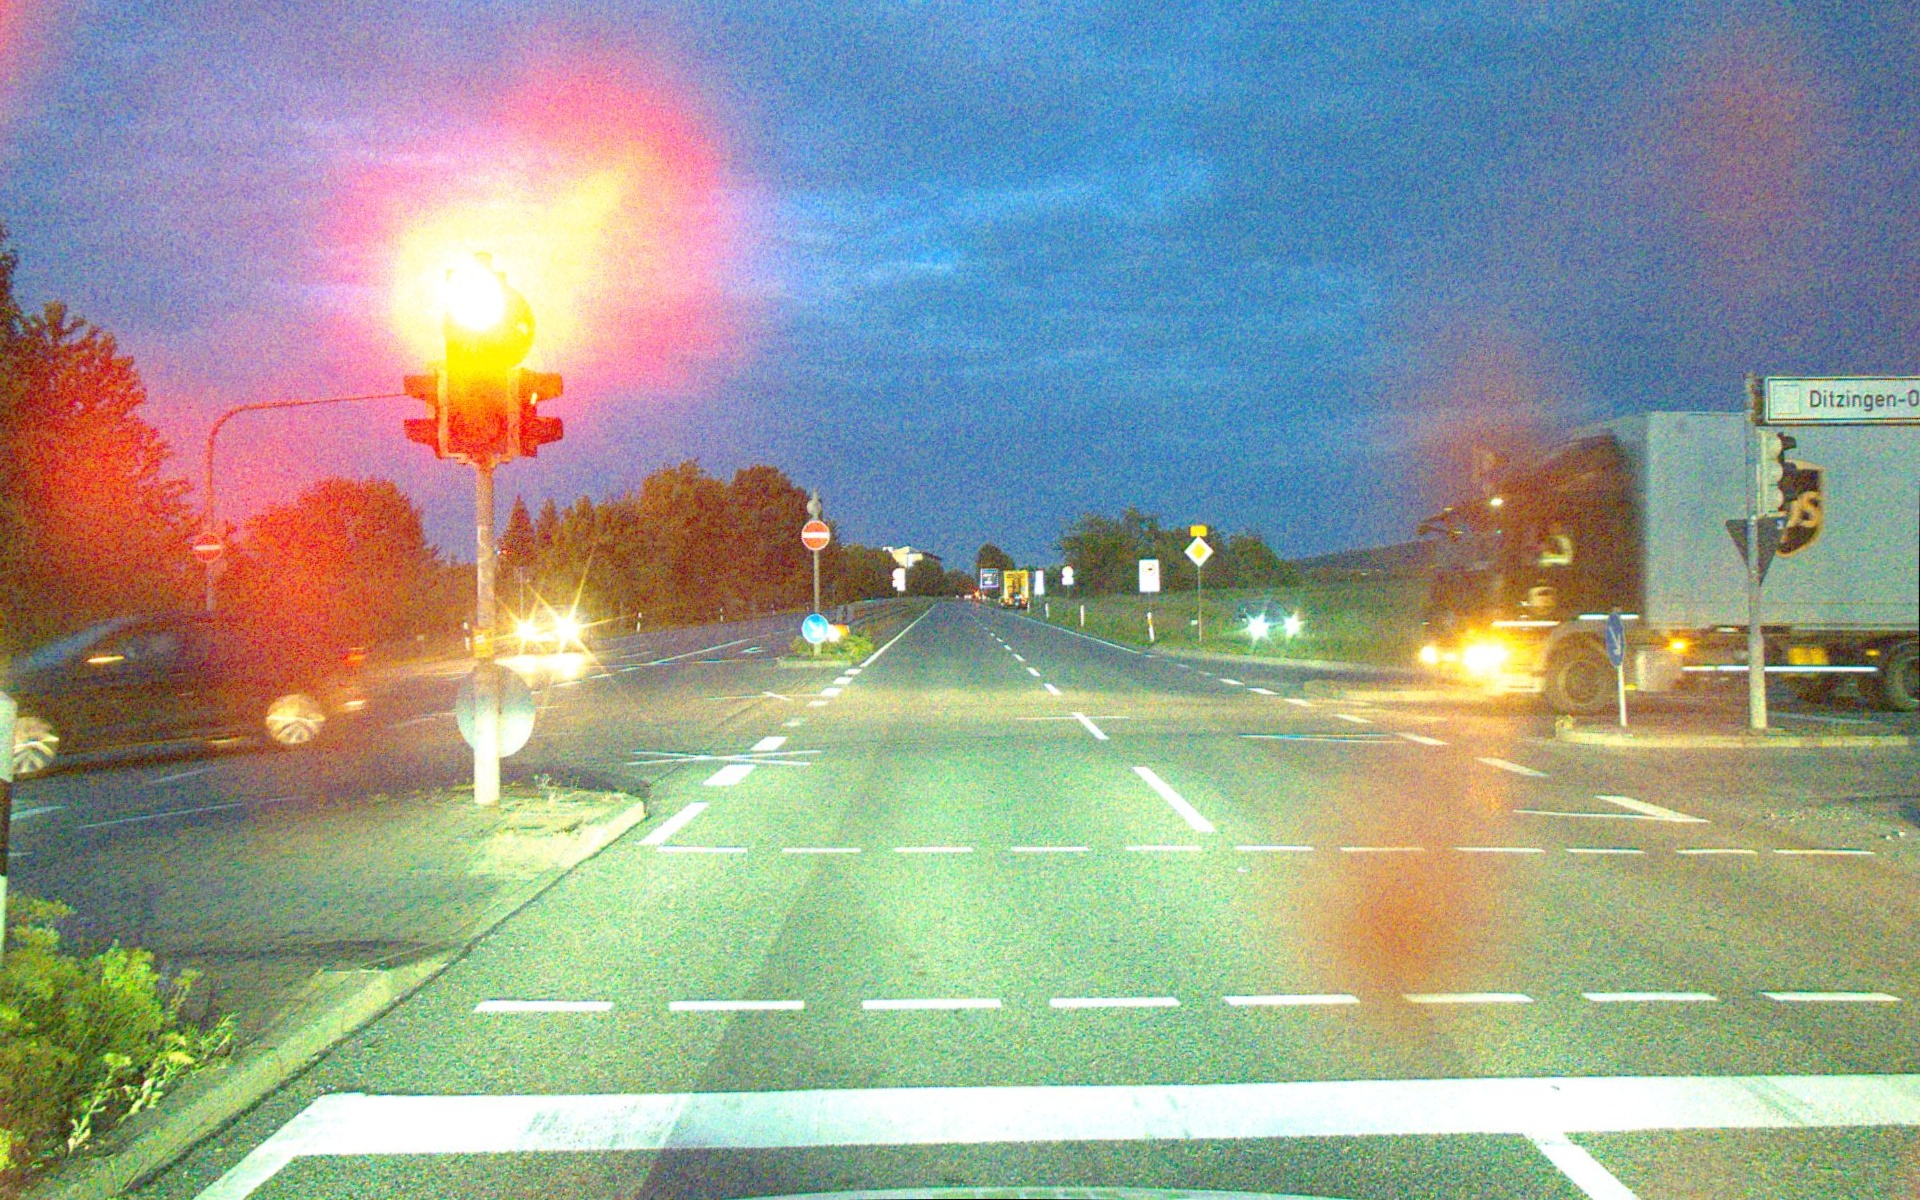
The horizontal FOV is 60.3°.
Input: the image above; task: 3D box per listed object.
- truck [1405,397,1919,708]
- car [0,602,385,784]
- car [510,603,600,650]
[{"bbox_3d":[11.672,-0.686,23.616,9.841,4.049,2.922,-1,0,-4],"label":"truck"},{"bbox_3d":[-8.395,0.855,16.612,1.963,1.547,4.592,-1,0,40],"label":"car"},{"bbox_3d":[-12.889,0.819,52.871,1.953,1.411,3.999,-1,0,-1],"label":"car"}]
